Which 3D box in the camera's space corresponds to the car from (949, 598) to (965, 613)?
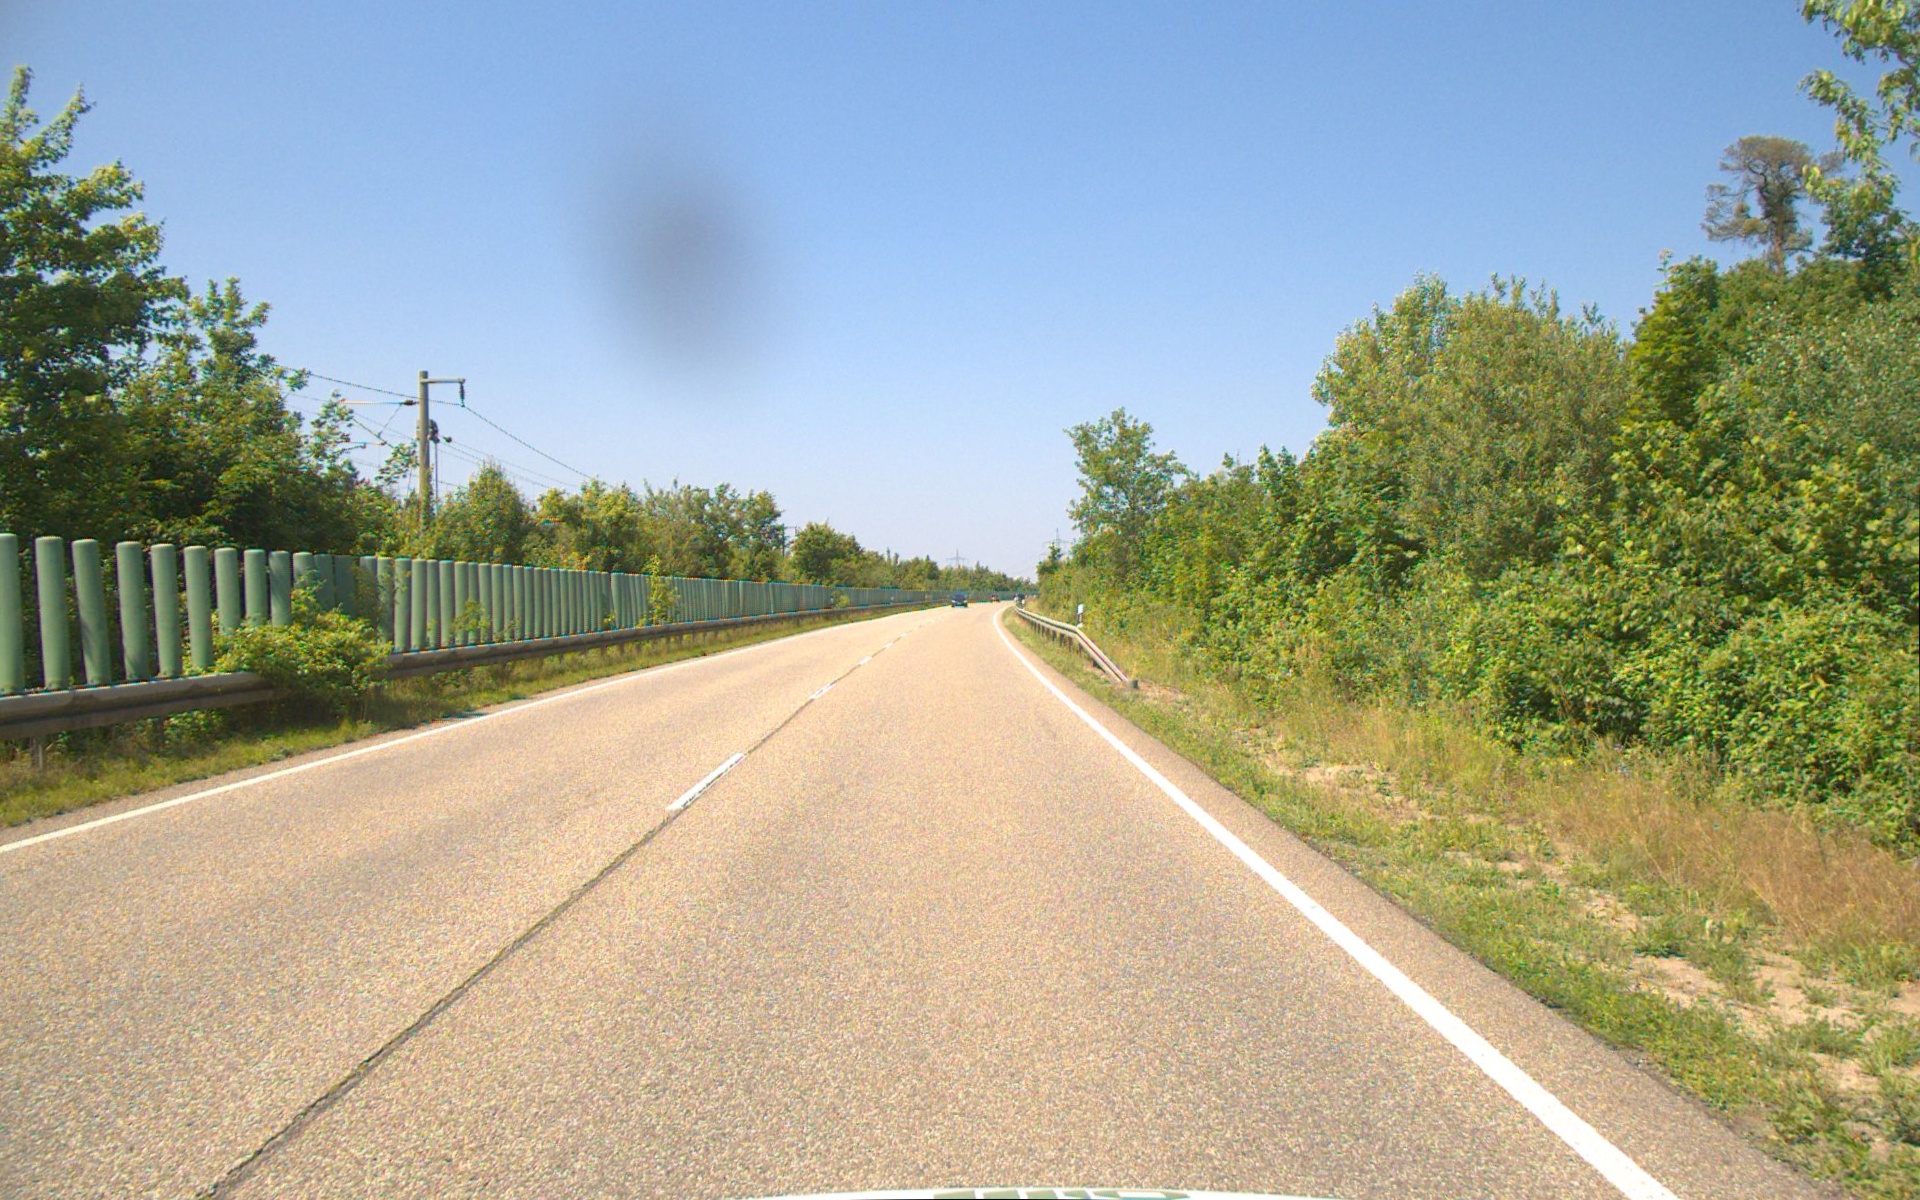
[{"bbox_3d":[-0.339,0.620,192.370,1.727,1.669,4.126,0,0,0],"label":"car"}]
